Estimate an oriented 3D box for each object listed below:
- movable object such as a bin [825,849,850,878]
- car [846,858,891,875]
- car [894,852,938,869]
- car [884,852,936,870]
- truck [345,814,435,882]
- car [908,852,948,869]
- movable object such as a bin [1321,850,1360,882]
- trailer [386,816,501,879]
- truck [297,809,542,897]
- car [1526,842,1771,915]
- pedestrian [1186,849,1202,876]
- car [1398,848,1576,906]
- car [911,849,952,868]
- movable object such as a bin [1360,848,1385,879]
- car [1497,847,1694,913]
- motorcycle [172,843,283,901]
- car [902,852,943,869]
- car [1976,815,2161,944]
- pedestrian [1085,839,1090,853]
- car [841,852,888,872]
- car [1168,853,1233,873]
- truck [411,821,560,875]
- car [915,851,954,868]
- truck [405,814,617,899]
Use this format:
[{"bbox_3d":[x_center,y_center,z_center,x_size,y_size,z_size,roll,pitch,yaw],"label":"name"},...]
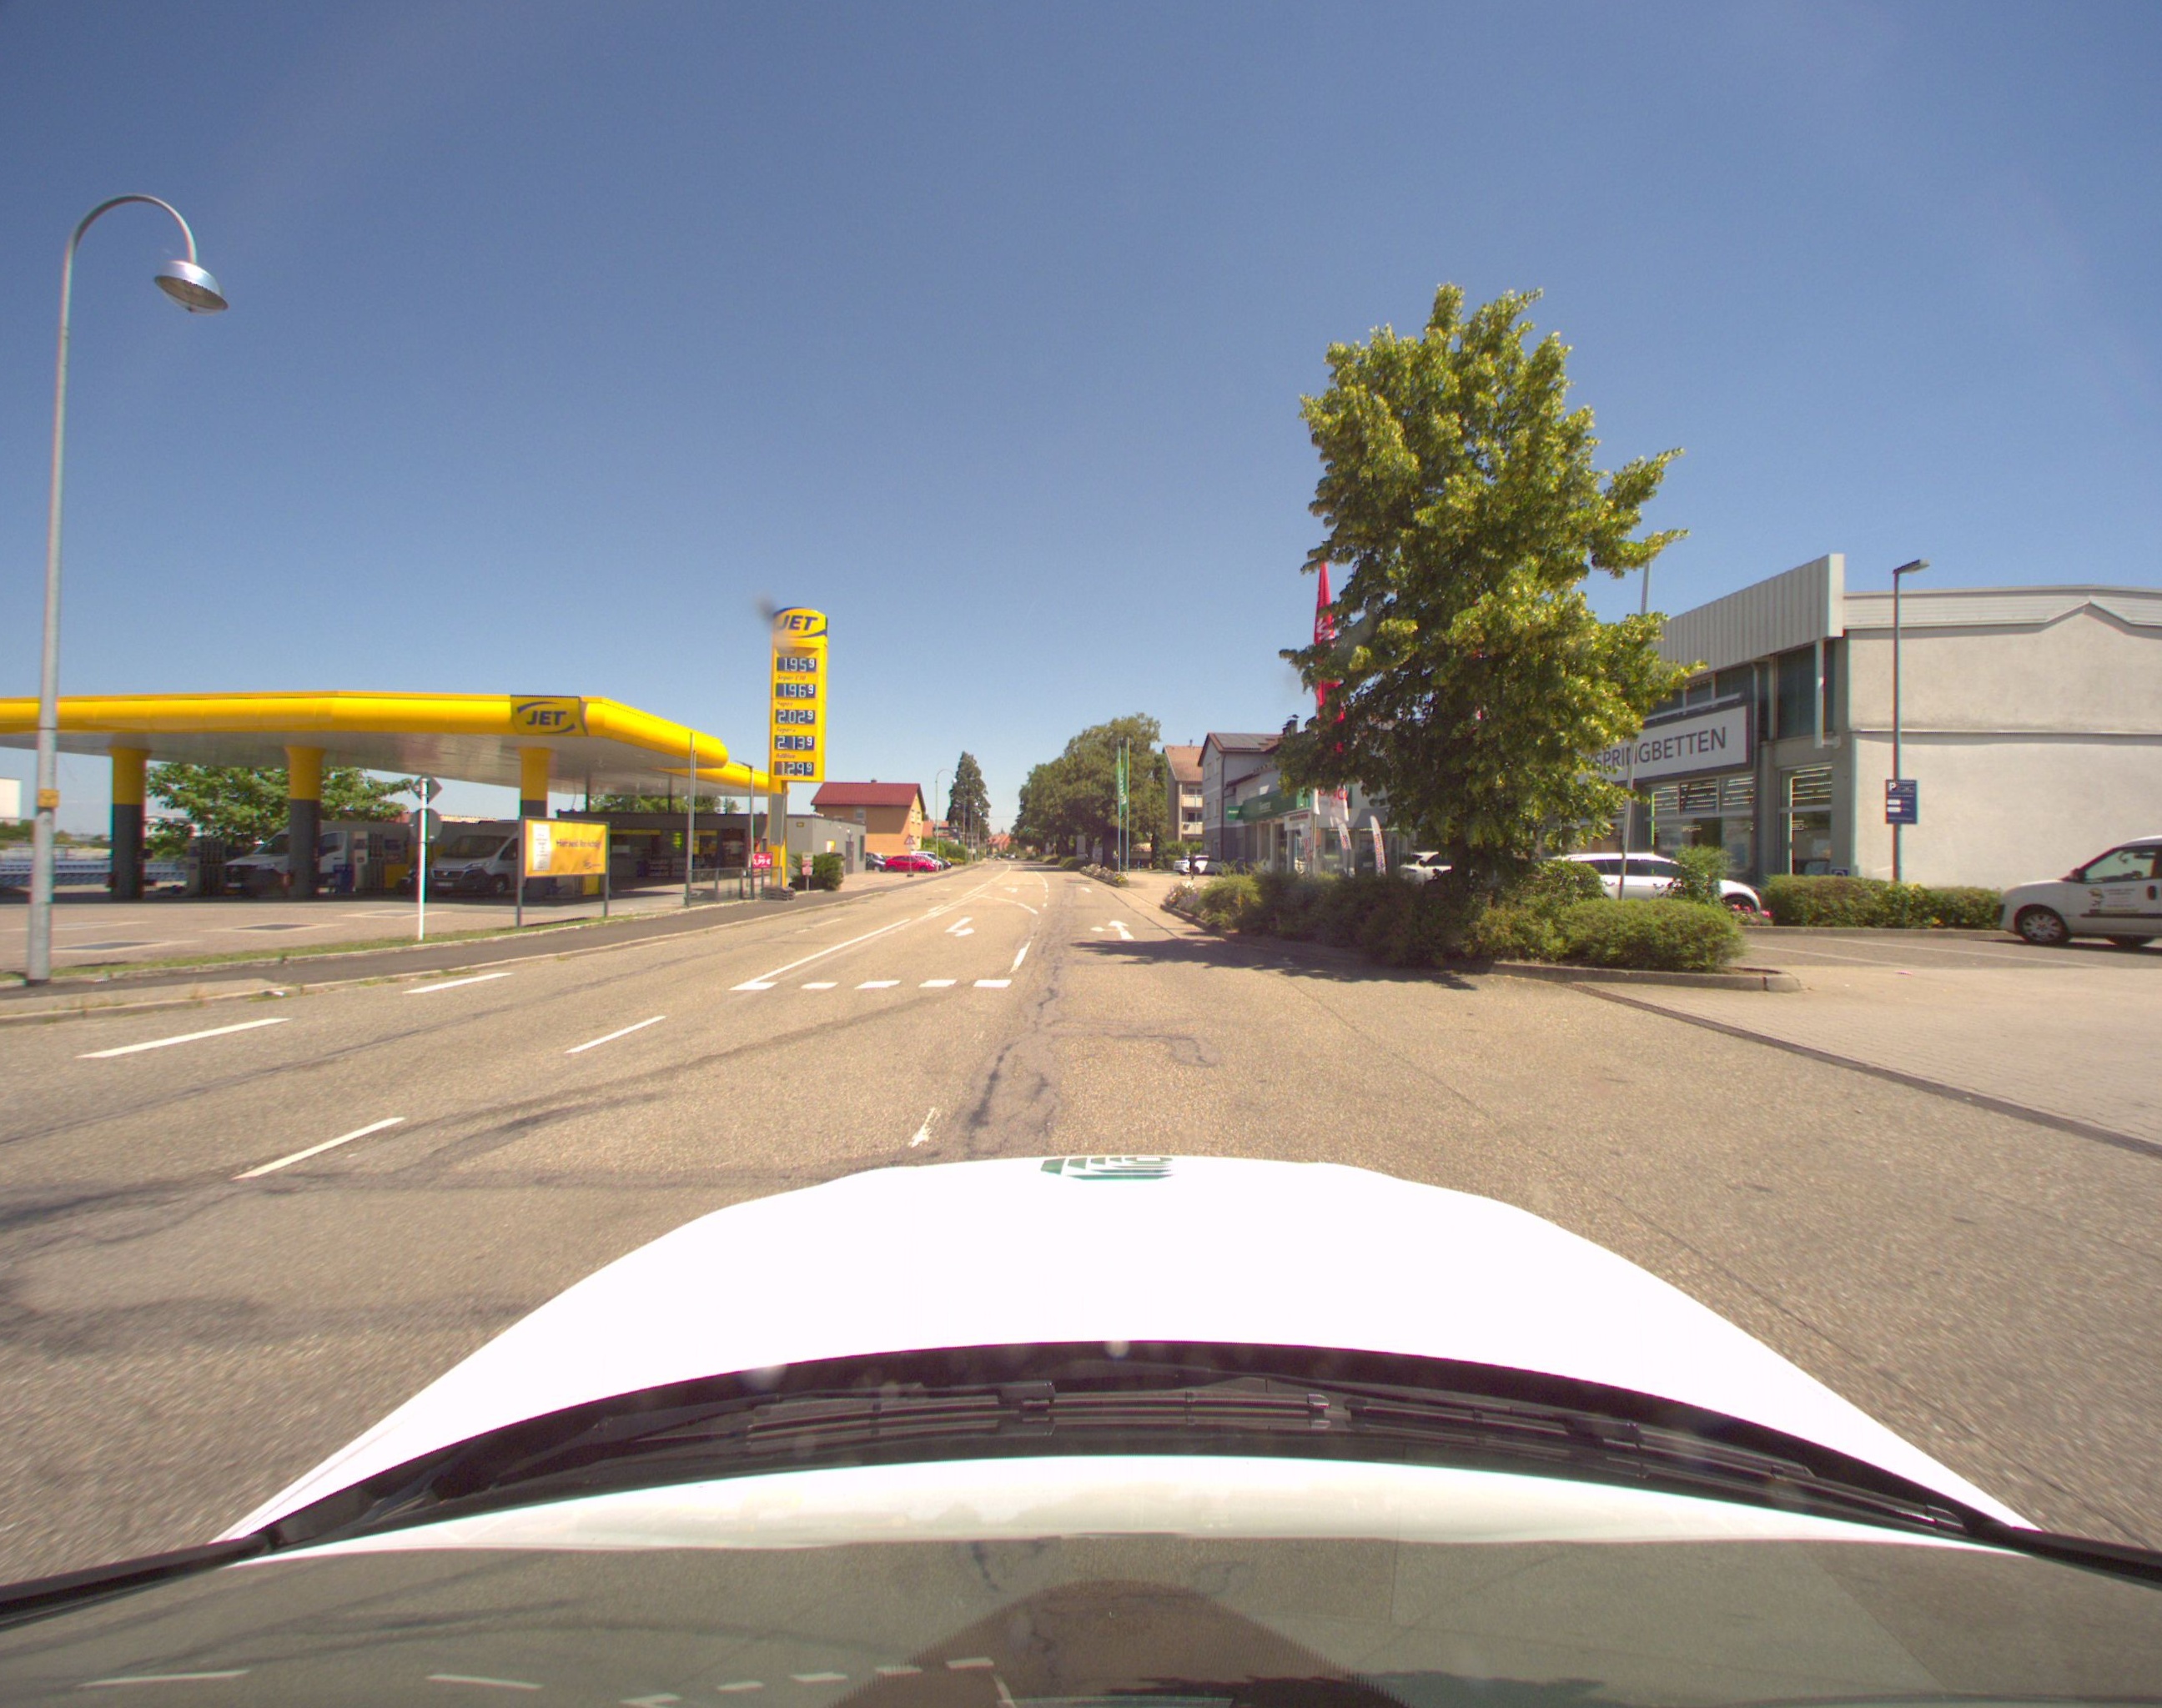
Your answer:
[{"bbox_3d":[-13.918,0.516,46.506,0.950,1.517,1.426,4,1,-3],"label":"movable object such as a bin"},{"bbox_3d":[-19.115,1.111,73.225,3.660,1.457,1.888,0,0,-7],"label":"car"},{"bbox_3d":[-14.595,0.533,72.299,3.660,1.457,1.888,0,0,-7],"label":"car"},{"bbox_3d":[-14.572,0.606,69.632,4.119,1.444,1.824,0,0,-5],"label":"car"},{"bbox_3d":[-34.436,-0.329,40.702,1.842,3.242,3.186,0,1,-4],"label":"truck"},{"bbox_3d":[-14.837,0.618,78.924,3.660,1.531,1.918,0,0,-7],"label":"car"},{"bbox_3d":[12.323,0.574,38.672,1.556,1.422,0.703,-3,0,3],"label":"movable object such as a bin"},{"bbox_3d":[-34.660,-0.375,44.548,1.861,3.219,5.906,0,1,-3],"label":"trailer"},{"bbox_3d":[-24.268,-0.024,30.400,2.619,2.913,6.762,0,0,17],"label":"truck"},{"bbox_3d":[12.070,0.516,17.602,3.961,1.460,1.811,-1,0,11],"label":"car"},{"bbox_3d":[6.777,0.505,48.883,0.837,1.641,1.010,0,0,0],"label":"pedestrian"},{"bbox_3d":[12.221,0.684,24.872,4.547,1.642,2.008,-1,0,15],"label":"car"},{"bbox_3d":[-15.264,0.474,83.279,4.092,1.898,1.994,0,0,-9],"label":"car"},{"bbox_3d":[13.817,0.454,38.608,0.849,1.445,0.703,-3,0,3],"label":"movable object such as a bin"},{"bbox_3d":[12.704,0.642,20.351,3.827,1.533,1.684,-1,0,14],"label":"car"},{"bbox_3d":[-30.748,0.621,29.431,0.832,2.013,2.800,0,0,9],"label":"motorcycle"},{"bbox_3d":[-14.919,0.628,76.811,3.660,1.581,1.918,0,0,-7],"label":"car"},{"bbox_3d":[16.777,0.372,12.322,1.701,1.890,4.252,0,0,-3],"label":"car"},{"bbox_3d":[0.840,-1.048,105.874,0.701,1.914,0.660,-1,0,-1],"label":"pedestrian"},{"bbox_3d":[-18.905,0.669,71.235,3.660,1.709,1.888,0,0,-7],"label":"car"},{"bbox_3d":[8.732,0.619,59.466,4.367,1.371,1.938,0,0,-27],"label":"car"},{"bbox_3d":[-38.808,-0.391,53.259,7.857,3.426,2.152,0,0,-5],"label":"truck"},{"bbox_3d":[-14.583,0.528,81.239,3.660,1.672,1.918,0,0,-7],"label":"car"},{"bbox_3d":[-19.290,0.083,28.165,2.223,2.598,6.739,0,0,4],"label":"truck"}]
